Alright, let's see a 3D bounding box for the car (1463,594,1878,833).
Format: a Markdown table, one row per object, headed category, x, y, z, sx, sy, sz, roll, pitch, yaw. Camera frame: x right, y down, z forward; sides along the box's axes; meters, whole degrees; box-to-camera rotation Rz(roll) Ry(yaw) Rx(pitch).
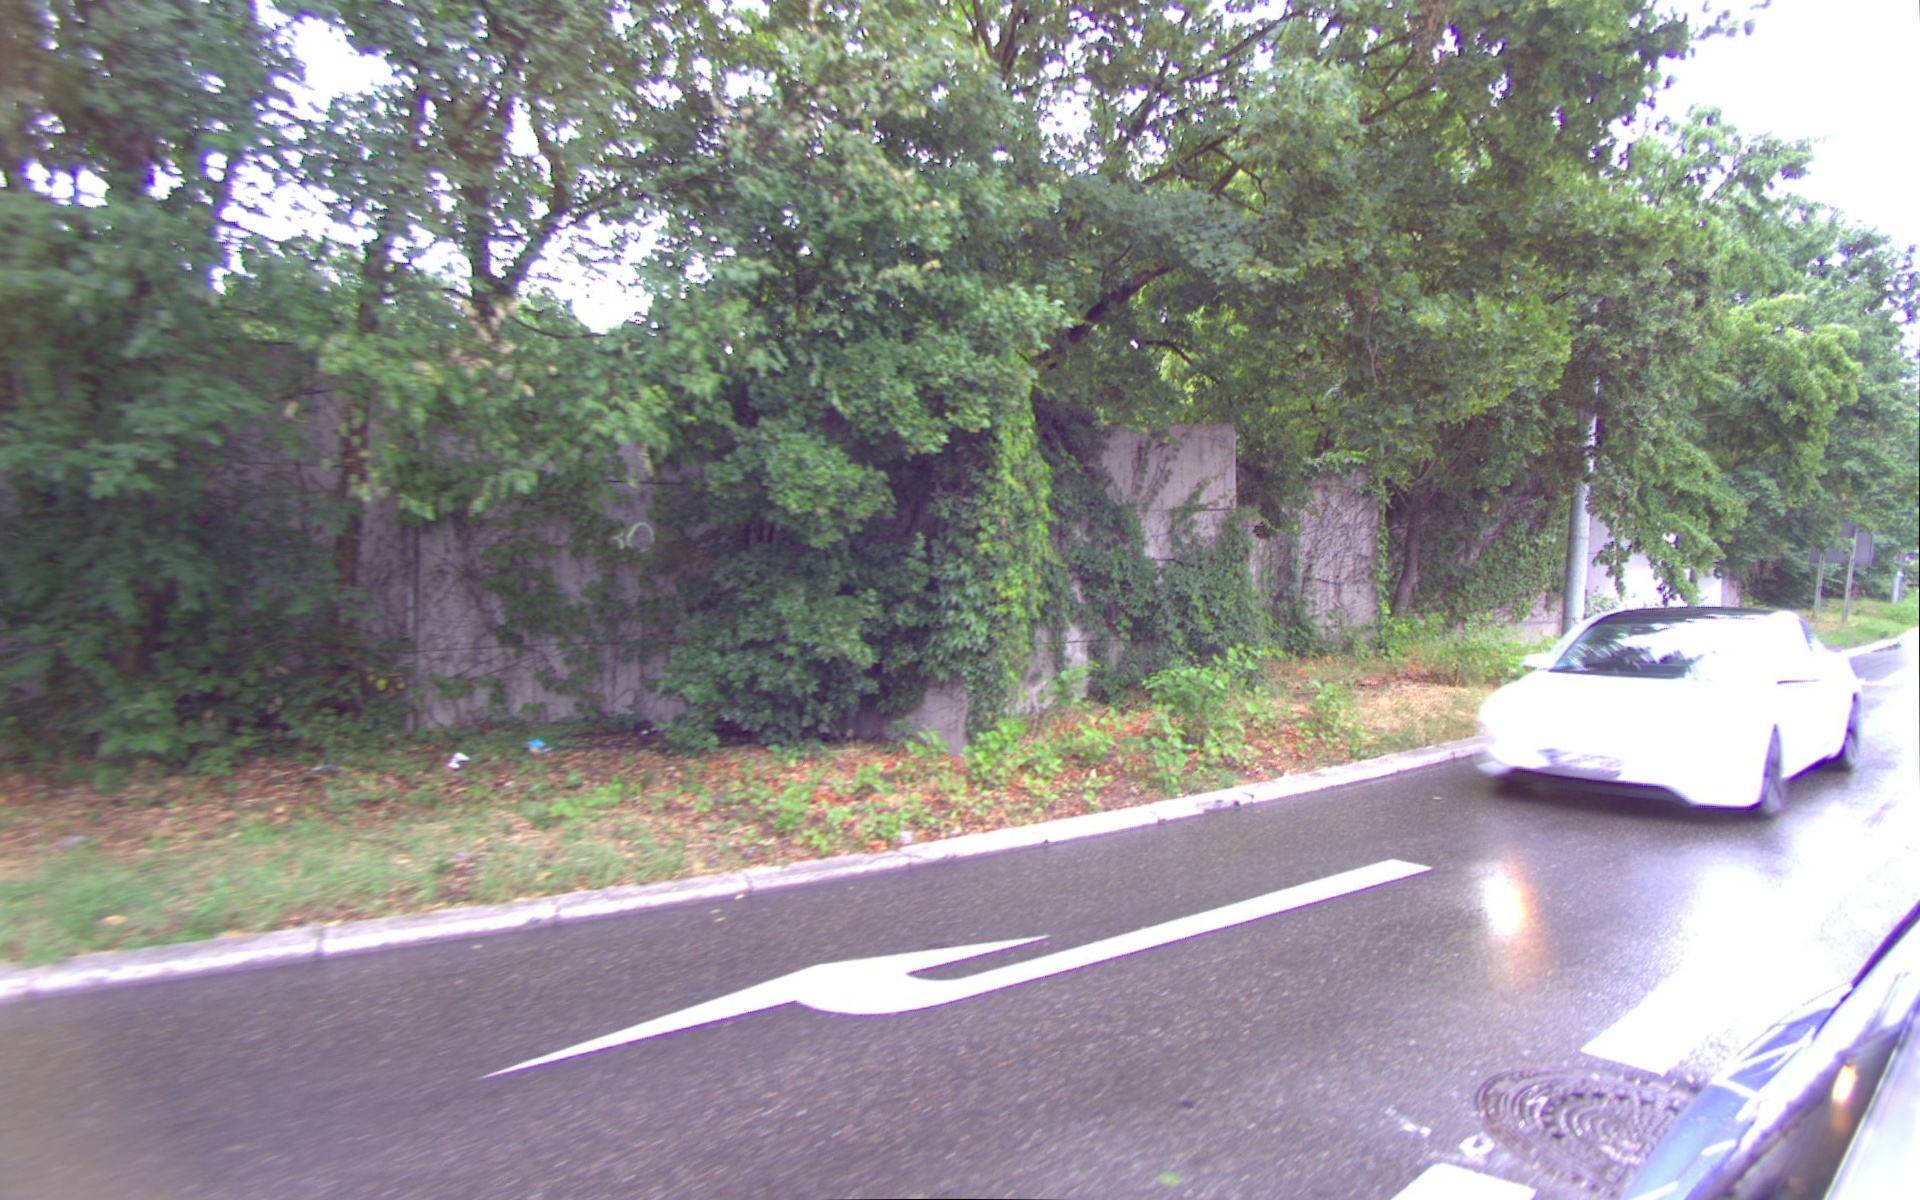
| category | x | y | z | sx | sy | sz | roll | pitch | yaw |
| --- | --- | --- | --- | --- | --- | --- | --- | --- | --- |
| car | 6.034 | 0.699 | 8.406 | 4.198 | 1.450 | 1.838 | -1 | 1 | -40 |
